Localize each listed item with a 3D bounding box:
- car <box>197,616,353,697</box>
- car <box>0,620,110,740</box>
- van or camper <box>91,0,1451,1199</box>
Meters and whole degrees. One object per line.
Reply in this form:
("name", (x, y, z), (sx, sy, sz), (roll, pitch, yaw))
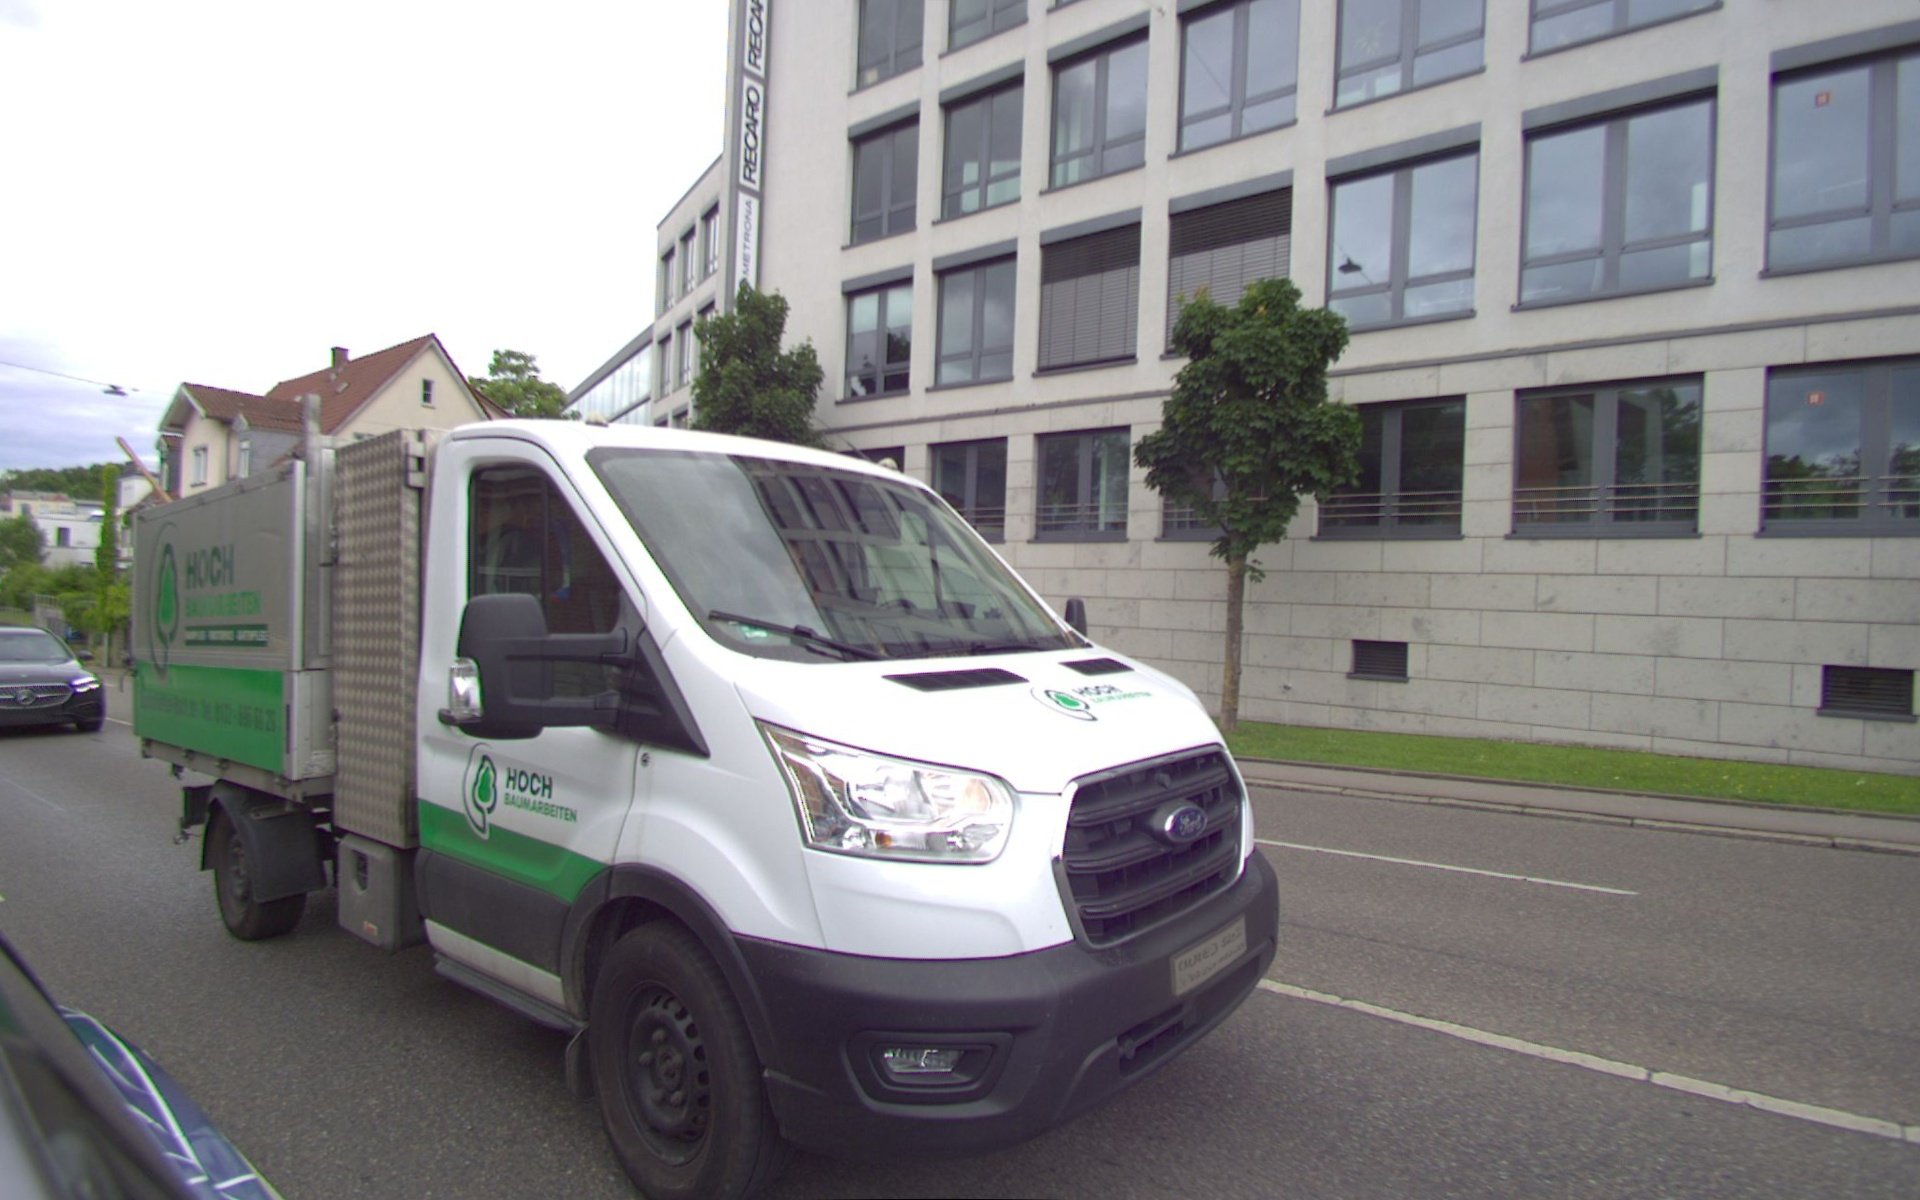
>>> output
("car", (-16.781, 1.360, 24.707), (4.650, 1.803, 1.851), (-2, -5, 40))
("car", (-13.960, 1.098, 14.601), (4.331, 1.542, 1.855), (-2, -2, 40))
("van or camper", (-1.399, 0.173, 4.308), (5.956, 2.682, 2.321), (1, 0, 37))
